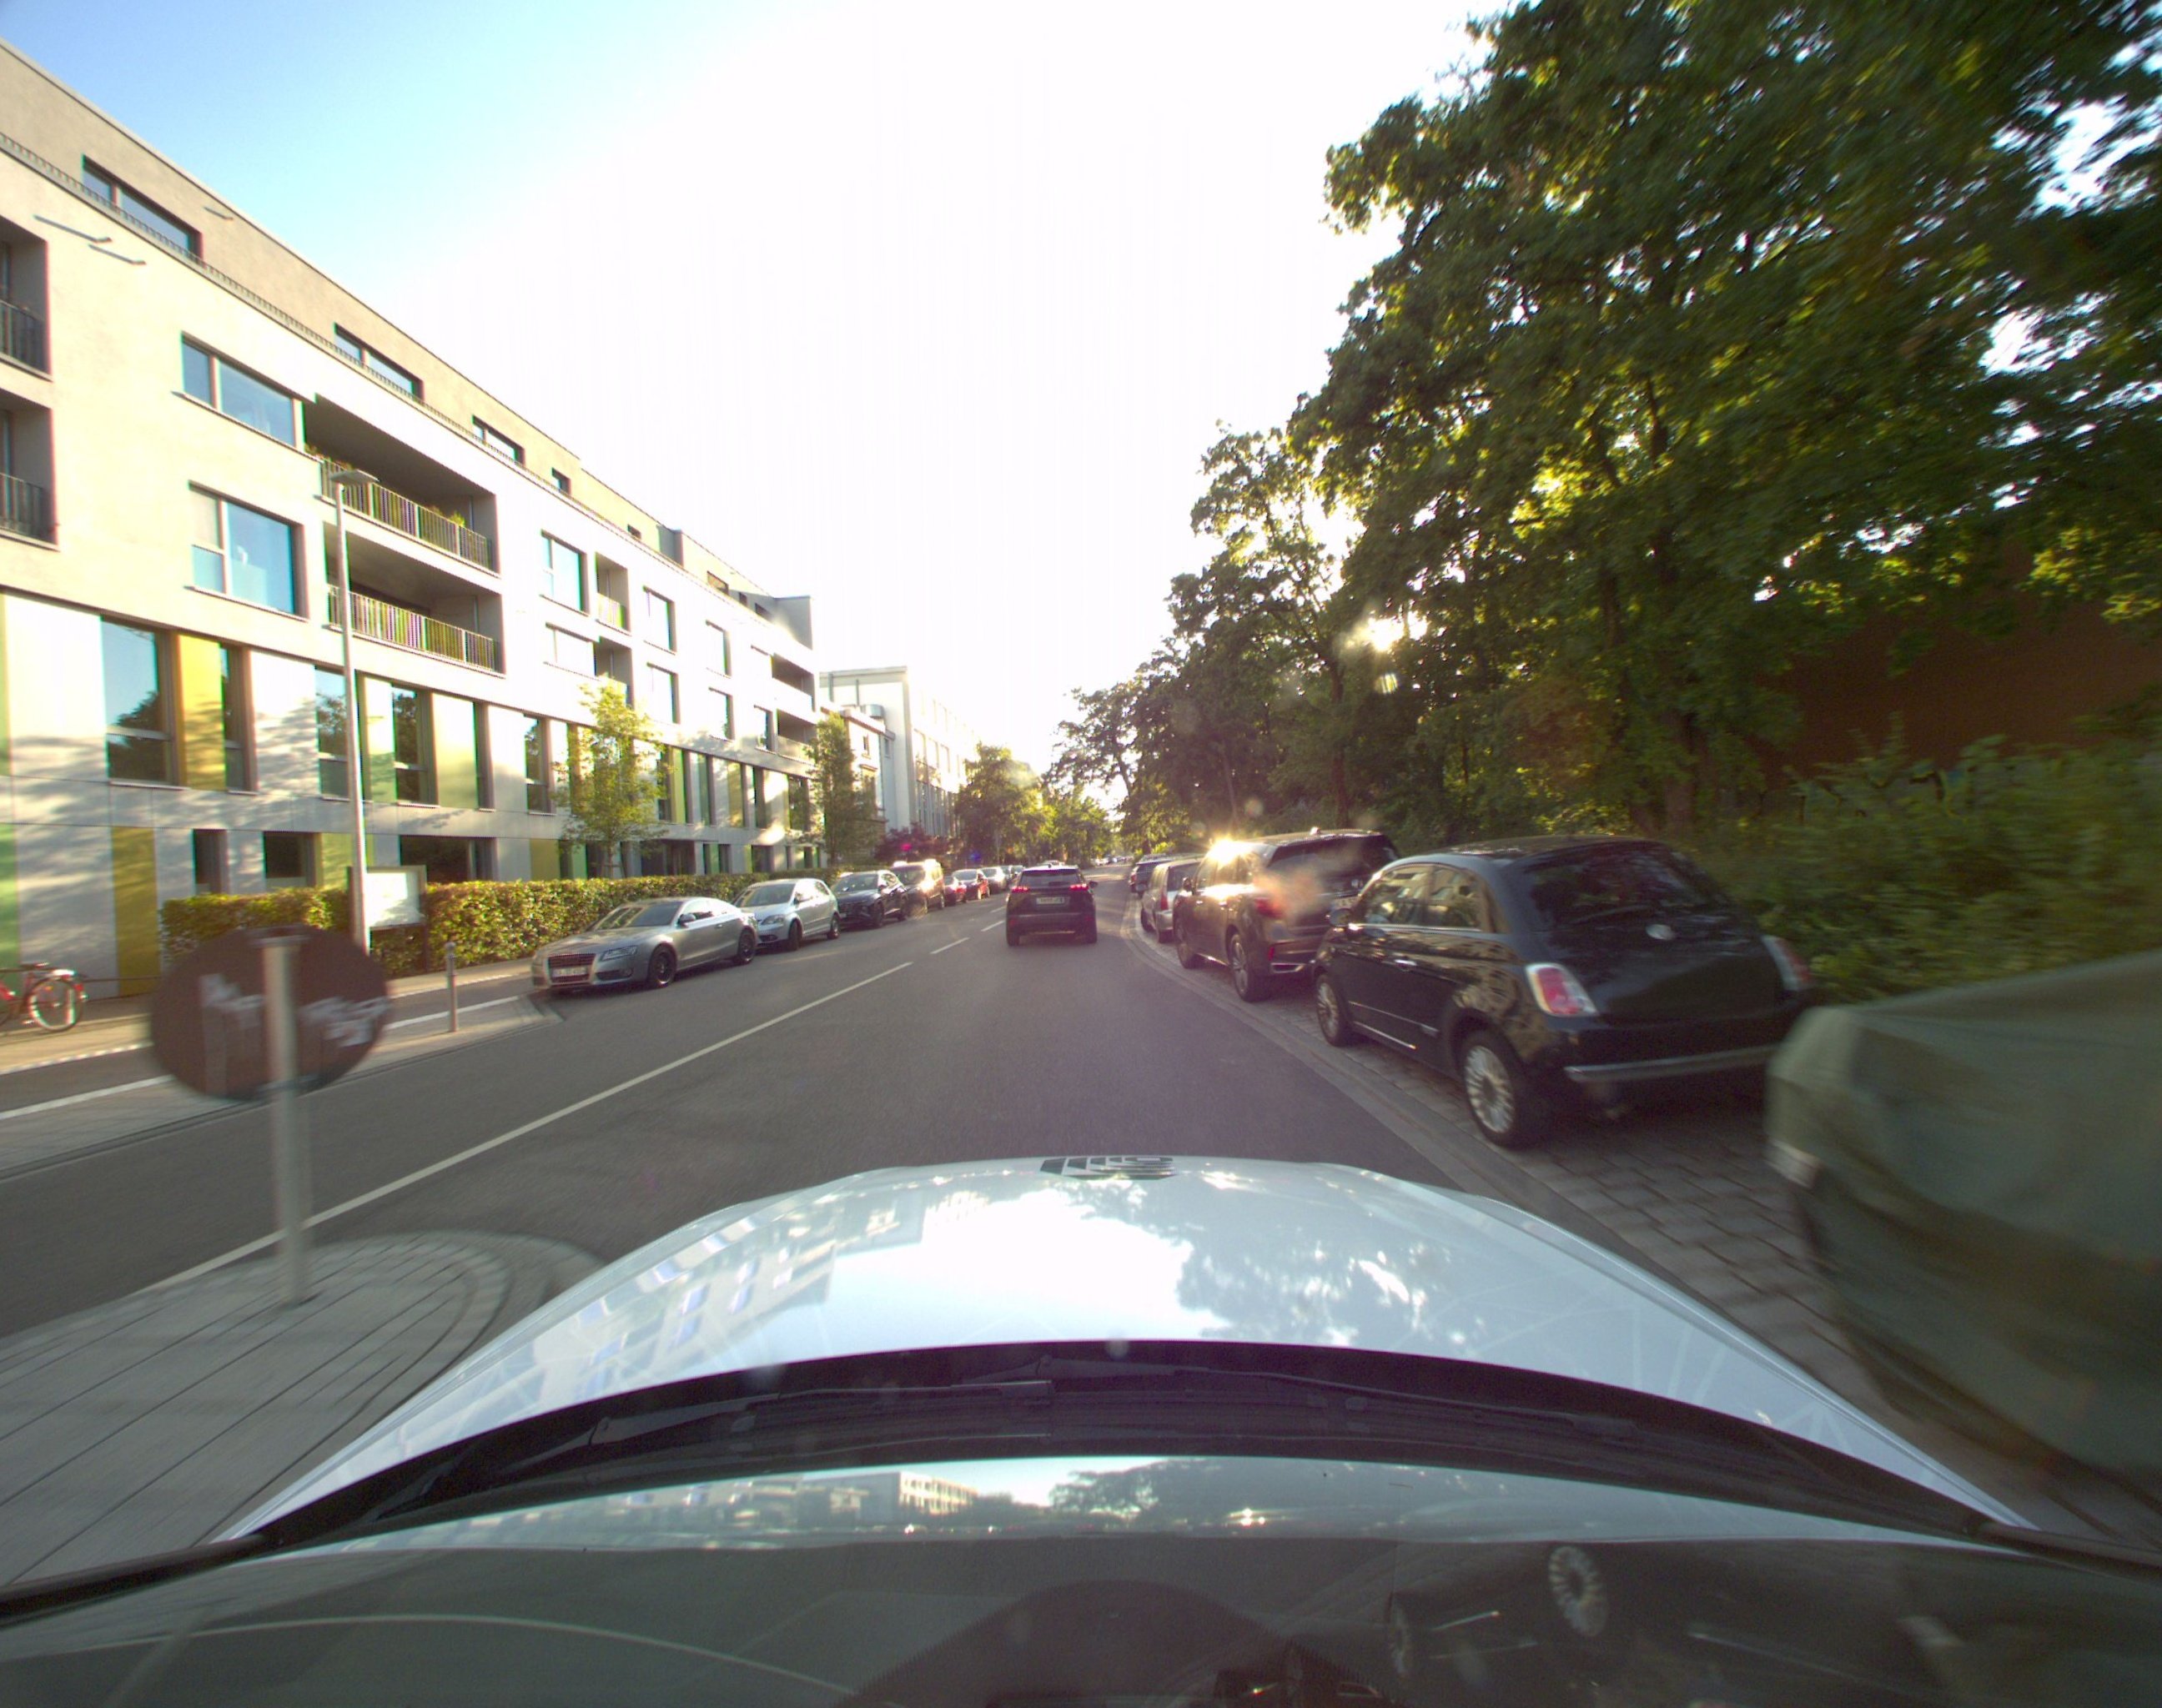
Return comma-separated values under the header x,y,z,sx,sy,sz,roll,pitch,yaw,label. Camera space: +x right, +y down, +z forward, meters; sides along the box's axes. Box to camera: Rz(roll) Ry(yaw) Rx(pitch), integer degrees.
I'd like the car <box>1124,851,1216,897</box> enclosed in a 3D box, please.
x,y,z,sx,sy,sz,roll,pitch,yaw,label
3.725,0.826,34.510,3.653,1.444,1.736,-7,0,1,car

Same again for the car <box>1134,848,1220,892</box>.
x,y,z,sx,sy,sz,roll,pitch,yaw,label
4.331,0.724,37.165,3.653,1.552,1.736,-7,0,1,car

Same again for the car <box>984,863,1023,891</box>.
x,y,z,sx,sy,sz,roll,pitch,yaw,label
-4.757,1.395,50.619,1.591,1.507,3.793,-5,0,6,car

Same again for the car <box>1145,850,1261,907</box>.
x,y,z,sx,sy,sz,roll,pitch,yaw,label
3.784,0.766,25.690,3.373,1.525,1.672,-4,-1,1,car

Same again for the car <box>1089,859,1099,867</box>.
x,y,z,sx,sy,sz,roll,pitch,yaw,label
2.622,1.753,161.507,1.805,1.354,3.998,-4,0,-1,car

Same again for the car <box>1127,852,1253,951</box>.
x,y,z,sx,sy,sz,roll,pitch,yaw,label
1.986,0.833,16.093,1.647,1.567,4.296,-4,0,-3,car

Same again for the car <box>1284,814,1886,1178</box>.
x,y,z,sx,sy,sz,roll,pitch,yaw,label
2.690,0.638,5.335,1.616,1.486,3.415,-4,0,-3,car

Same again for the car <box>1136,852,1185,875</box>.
x,y,z,sx,sy,sz,roll,pitch,yaw,label
6.907,0.828,71.256,4.104,1.667,1.724,-4,-1,3,car

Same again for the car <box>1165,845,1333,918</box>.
x,y,z,sx,sy,sz,roll,pitch,yaw,label
4.203,0.690,20.865,3.933,1.512,1.741,-4,-1,2,car

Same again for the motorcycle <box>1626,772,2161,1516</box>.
x,y,z,sx,sy,sz,roll,pitch,yaw,label
2.823,0.565,1.984,2.270,1.545,1.045,-4,-1,25,motorcycle

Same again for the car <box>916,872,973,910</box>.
x,y,z,sx,sy,sz,roll,pitch,yaw,label
-5.789,1.545,34.941,1.550,1.280,3.735,-5,0,3,car

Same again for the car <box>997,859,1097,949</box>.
x,y,z,sx,sy,sz,roll,pitch,yaw,label
-0.598,0.954,16.907,1.762,1.568,3.381,-4,-1,1,car

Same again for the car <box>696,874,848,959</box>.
x,y,z,sx,sy,sz,roll,pitch,yaw,label
-6.965,1.342,18.839,1.735,1.533,4.117,-4,0,2,car

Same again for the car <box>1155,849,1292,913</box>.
x,y,z,sx,sy,sz,roll,pitch,yaw,label
3.981,0.747,23.164,3.611,1.540,1.673,-3,0,3,car

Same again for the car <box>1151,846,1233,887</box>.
x,y,z,sx,sy,sz,roll,pitch,yaw,label
5.356,0.615,39.779,3.709,1.498,1.822,-7,-1,3,car

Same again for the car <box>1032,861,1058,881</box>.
x,y,z,sx,sy,sz,roll,pitch,yaw,label
-3.196,1.495,72.688,1.663,1.493,4.066,-5,0,4,car

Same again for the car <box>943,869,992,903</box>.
x,y,z,sx,sy,sz,roll,pitch,yaw,label
-5.459,1.512,39.500,1.592,1.455,3.864,-4,-1,2,car

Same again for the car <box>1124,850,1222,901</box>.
x,y,z,sx,sy,sz,roll,pitch,yaw,label
3.592,0.828,32.191,3.597,1.525,1.672,-7,0,1,car

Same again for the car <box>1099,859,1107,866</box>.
x,y,z,sx,sy,sz,roll,pitch,yaw,label
5.504,2.088,201.533,1.804,1.354,3.978,-4,0,0,car

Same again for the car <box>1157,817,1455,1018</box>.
x,y,z,sx,sy,sz,roll,pitch,yaw,label
2.354,0.616,9.997,1.919,1.748,4.657,-4,0,-5,car

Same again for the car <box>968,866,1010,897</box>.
x,y,z,sx,sy,sz,roll,pitch,yaw,label
-5.116,1.509,45.604,1.592,1.455,4.058,-5,0,3,car

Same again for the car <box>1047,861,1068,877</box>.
x,y,z,sx,sy,sz,roll,pitch,yaw,label
-2.388,1.571,84.643,1.672,1.457,3.886,-5,0,4,car

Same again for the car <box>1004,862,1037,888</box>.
x,y,z,sx,sy,sz,roll,pitch,yaw,label
-4.079,1.390,55.216,1.594,1.493,3.776,-5,0,4,car

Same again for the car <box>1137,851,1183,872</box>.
x,y,z,sx,sy,sz,roll,pitch,yaw,label
7.390,0.661,75.981,4.147,1.710,1.871,-3,0,7,car

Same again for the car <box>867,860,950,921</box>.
x,y,z,sx,sy,sz,roll,pitch,yaw,label
-6.222,1.257,29.899,1.800,1.889,4.241,-5,0,3,car

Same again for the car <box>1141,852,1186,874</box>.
x,y,z,sx,sy,sz,roll,pitch,yaw,label
6.939,0.763,68.769,3.574,1.566,1.819,-5,-2,2,car

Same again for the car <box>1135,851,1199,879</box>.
x,y,z,sx,sy,sz,roll,pitch,yaw,label
6.072,0.803,57.961,4.318,1.475,1.744,-6,0,4,car

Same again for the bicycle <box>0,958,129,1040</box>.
x,y,z,sx,sy,sz,roll,pitch,yaw,label
-13.514,1.869,10.507,1.745,0.918,0.618,-2,-1,1,bicycle

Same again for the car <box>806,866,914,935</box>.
x,y,z,sx,sy,sz,roll,pitch,yaw,label
-6.487,1.303,24.445,1.735,1.676,4.419,-5,0,3,car

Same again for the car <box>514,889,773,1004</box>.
x,y,z,sx,sy,sz,roll,pitch,yaw,label
-7.118,1.430,13.892,1.734,1.356,4.401,-4,0,4,car
